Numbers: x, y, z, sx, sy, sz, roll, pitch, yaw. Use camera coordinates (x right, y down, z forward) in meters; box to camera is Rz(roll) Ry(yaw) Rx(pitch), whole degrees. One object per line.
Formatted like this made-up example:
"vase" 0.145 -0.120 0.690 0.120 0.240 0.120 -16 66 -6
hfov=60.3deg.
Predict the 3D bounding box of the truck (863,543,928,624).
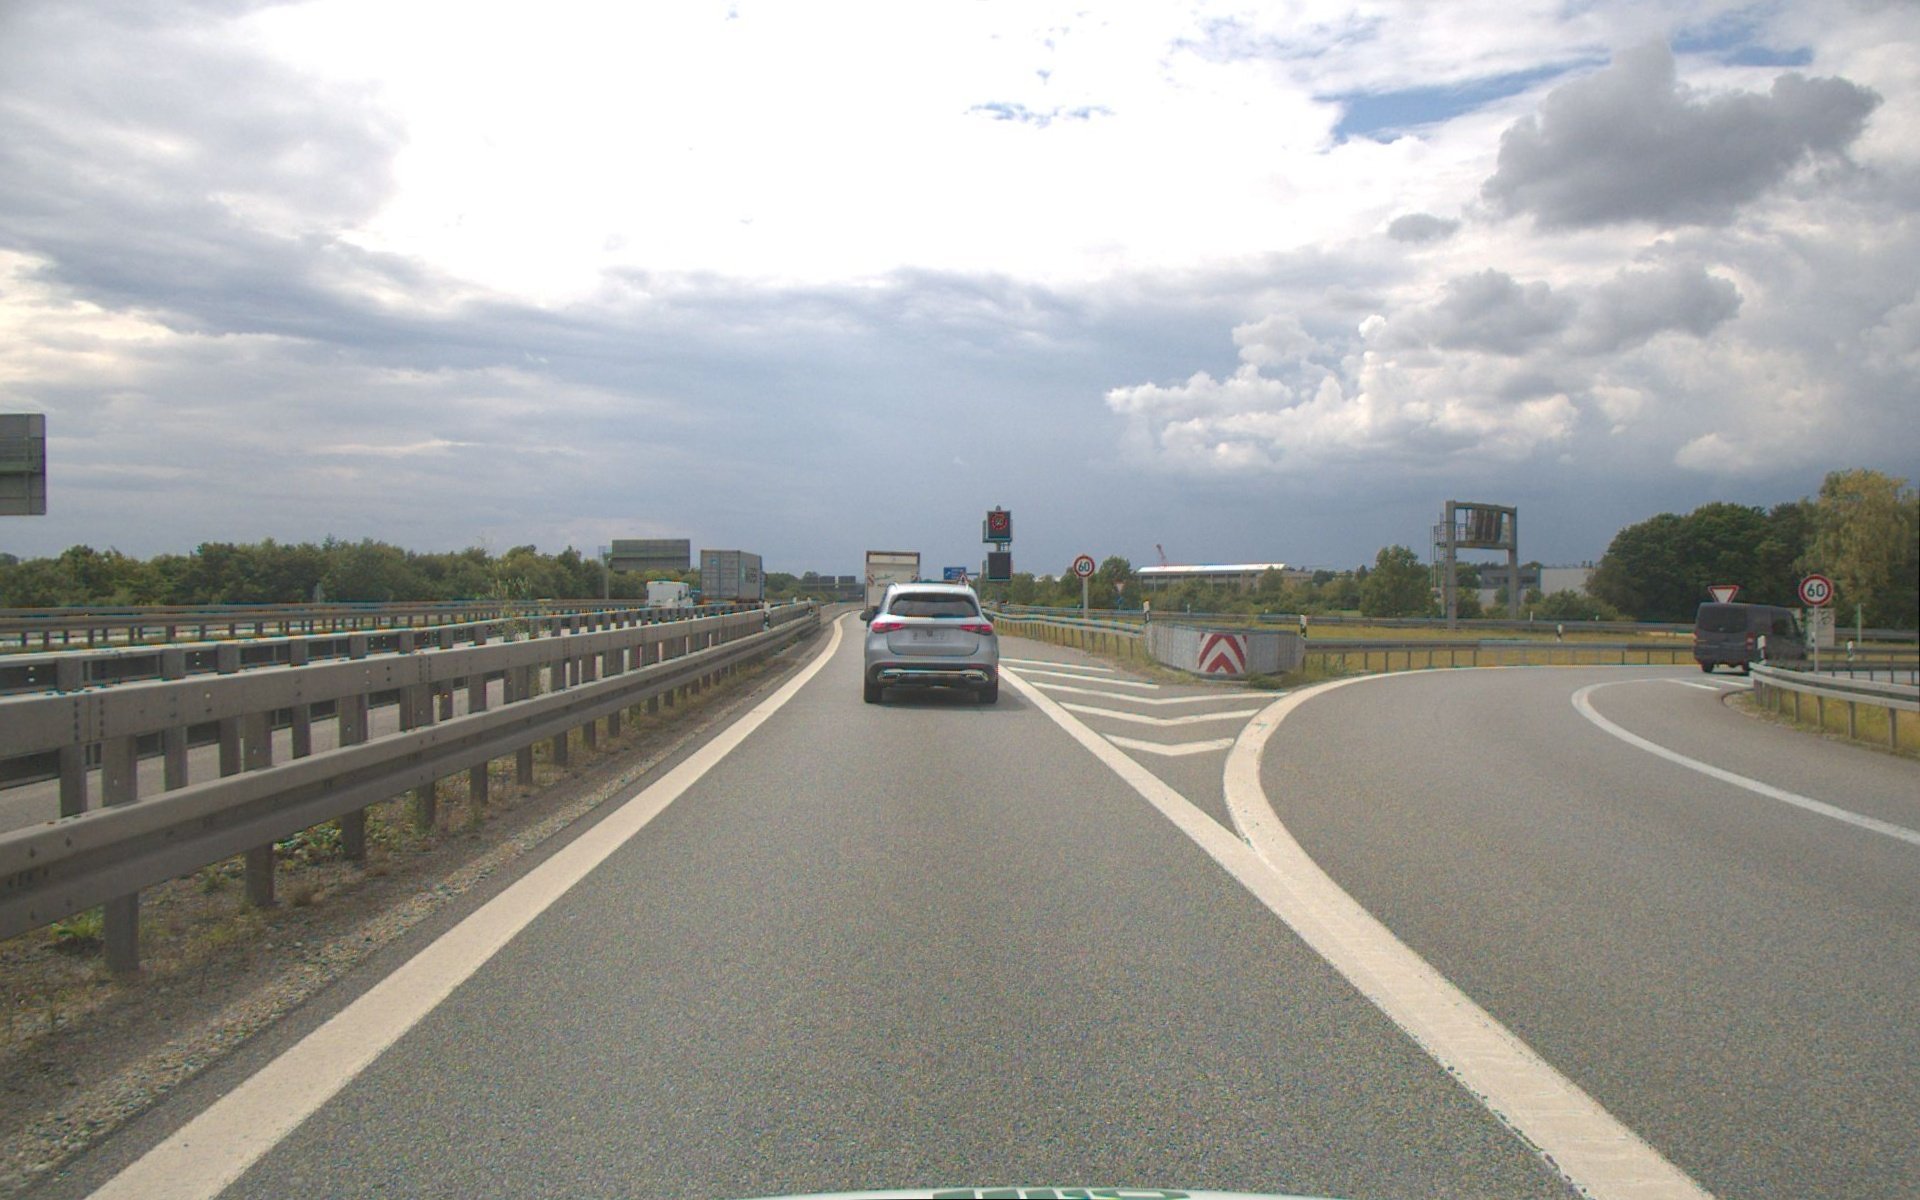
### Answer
"truck" -2.748 -0.652 69.893 2.517 3.180 8.630 1 0 -2

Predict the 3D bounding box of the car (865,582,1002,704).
"car" -0.365 0.545 23.804 1.782 1.541 4.000 1 1 -1

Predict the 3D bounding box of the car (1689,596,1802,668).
"car" 26.612 1.047 55.975 4.610 2.301 1.883 0 1 -43

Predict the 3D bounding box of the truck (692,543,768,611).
"truck" -14.912 -1.554 108.357 3.119 4.089 16.071 1 1 -2

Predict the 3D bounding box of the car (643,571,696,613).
"car" -14.824 -0.432 84.572 1.953 2.048 4.374 1 1 -1

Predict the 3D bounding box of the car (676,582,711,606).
"car" -19.034 -0.452 118.183 1.843 1.573 4.614 1 1 -1
